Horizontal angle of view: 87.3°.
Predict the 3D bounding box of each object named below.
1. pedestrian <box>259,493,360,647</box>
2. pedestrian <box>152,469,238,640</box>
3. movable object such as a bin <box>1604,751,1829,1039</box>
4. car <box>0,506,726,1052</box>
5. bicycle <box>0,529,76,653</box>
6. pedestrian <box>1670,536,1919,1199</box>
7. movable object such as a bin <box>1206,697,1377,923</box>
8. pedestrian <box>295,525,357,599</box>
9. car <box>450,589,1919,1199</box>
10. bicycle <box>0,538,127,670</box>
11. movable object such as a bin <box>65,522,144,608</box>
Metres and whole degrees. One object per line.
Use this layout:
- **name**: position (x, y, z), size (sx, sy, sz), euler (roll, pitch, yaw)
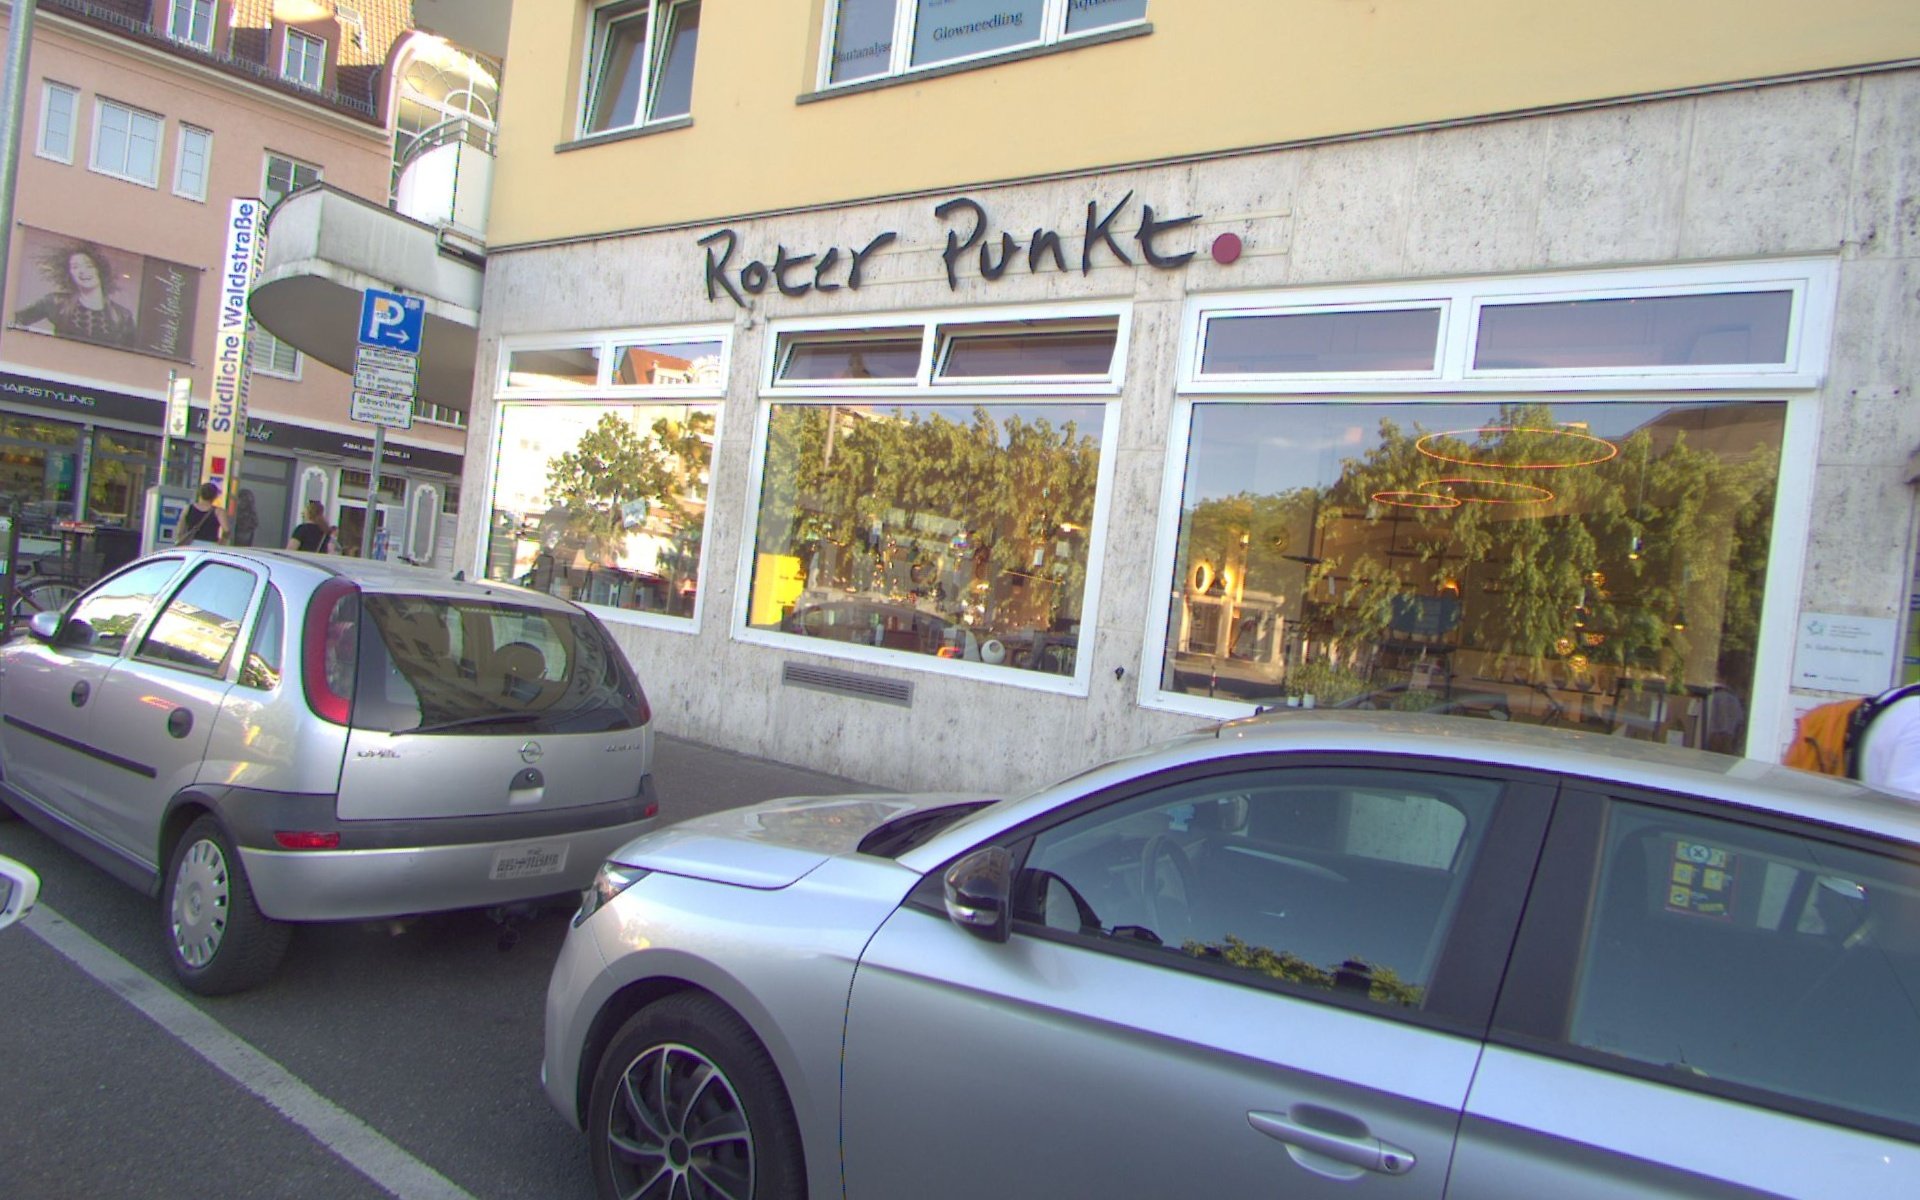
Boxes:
- **pedestrian**: position (-7.899, -0.359, 12.218), size (0.775, 1.777, 0.720), euler (6, 2, 36)
- **pedestrian**: position (-8.856, -0.520, 11.636), size (0.677, 1.875, 0.883), euler (2, 3, -41)
- **movable object such as a bin**: position (3.369, 1.265, 4.551), size (0.639, 1.035, 0.738), euler (6, -1, 31)
- **car**: position (-2.961, 0.484, 4.465), size (3.520, 1.443, 1.587), euler (6, -2, 32)
- **bicycle**: position (-9.060, -0.151, 8.801), size (0.642, 1.072, 1.816), euler (7, -1, 33)
- **pedestrian**: position (2.742, 0.810, 2.887), size (0.967, 1.845, 0.809), euler (6, 0, 35)
- **movable object such as a bin**: position (1.821, 1.096, 5.481), size (0.639, 1.035, 0.738), euler (6, -1, 31)
- **pedestrian**: position (-14.661, -0.866, 23.277), size (0.710, 1.567, 0.793), euler (7, -1, 5)
- **car**: position (0.776, 0.943, 2.285), size (3.624, 1.453, 1.587), euler (6, -2, 30)
- **bicycle**: position (-8.169, 0.003, 8.257), size (0.642, 1.057, 1.884), euler (7, 0, 33)
- **movable object such as a bin**: position (-11.961, -0.489, 14.068), size (0.716, 1.117, 0.636), euler (7, 2, 35)
